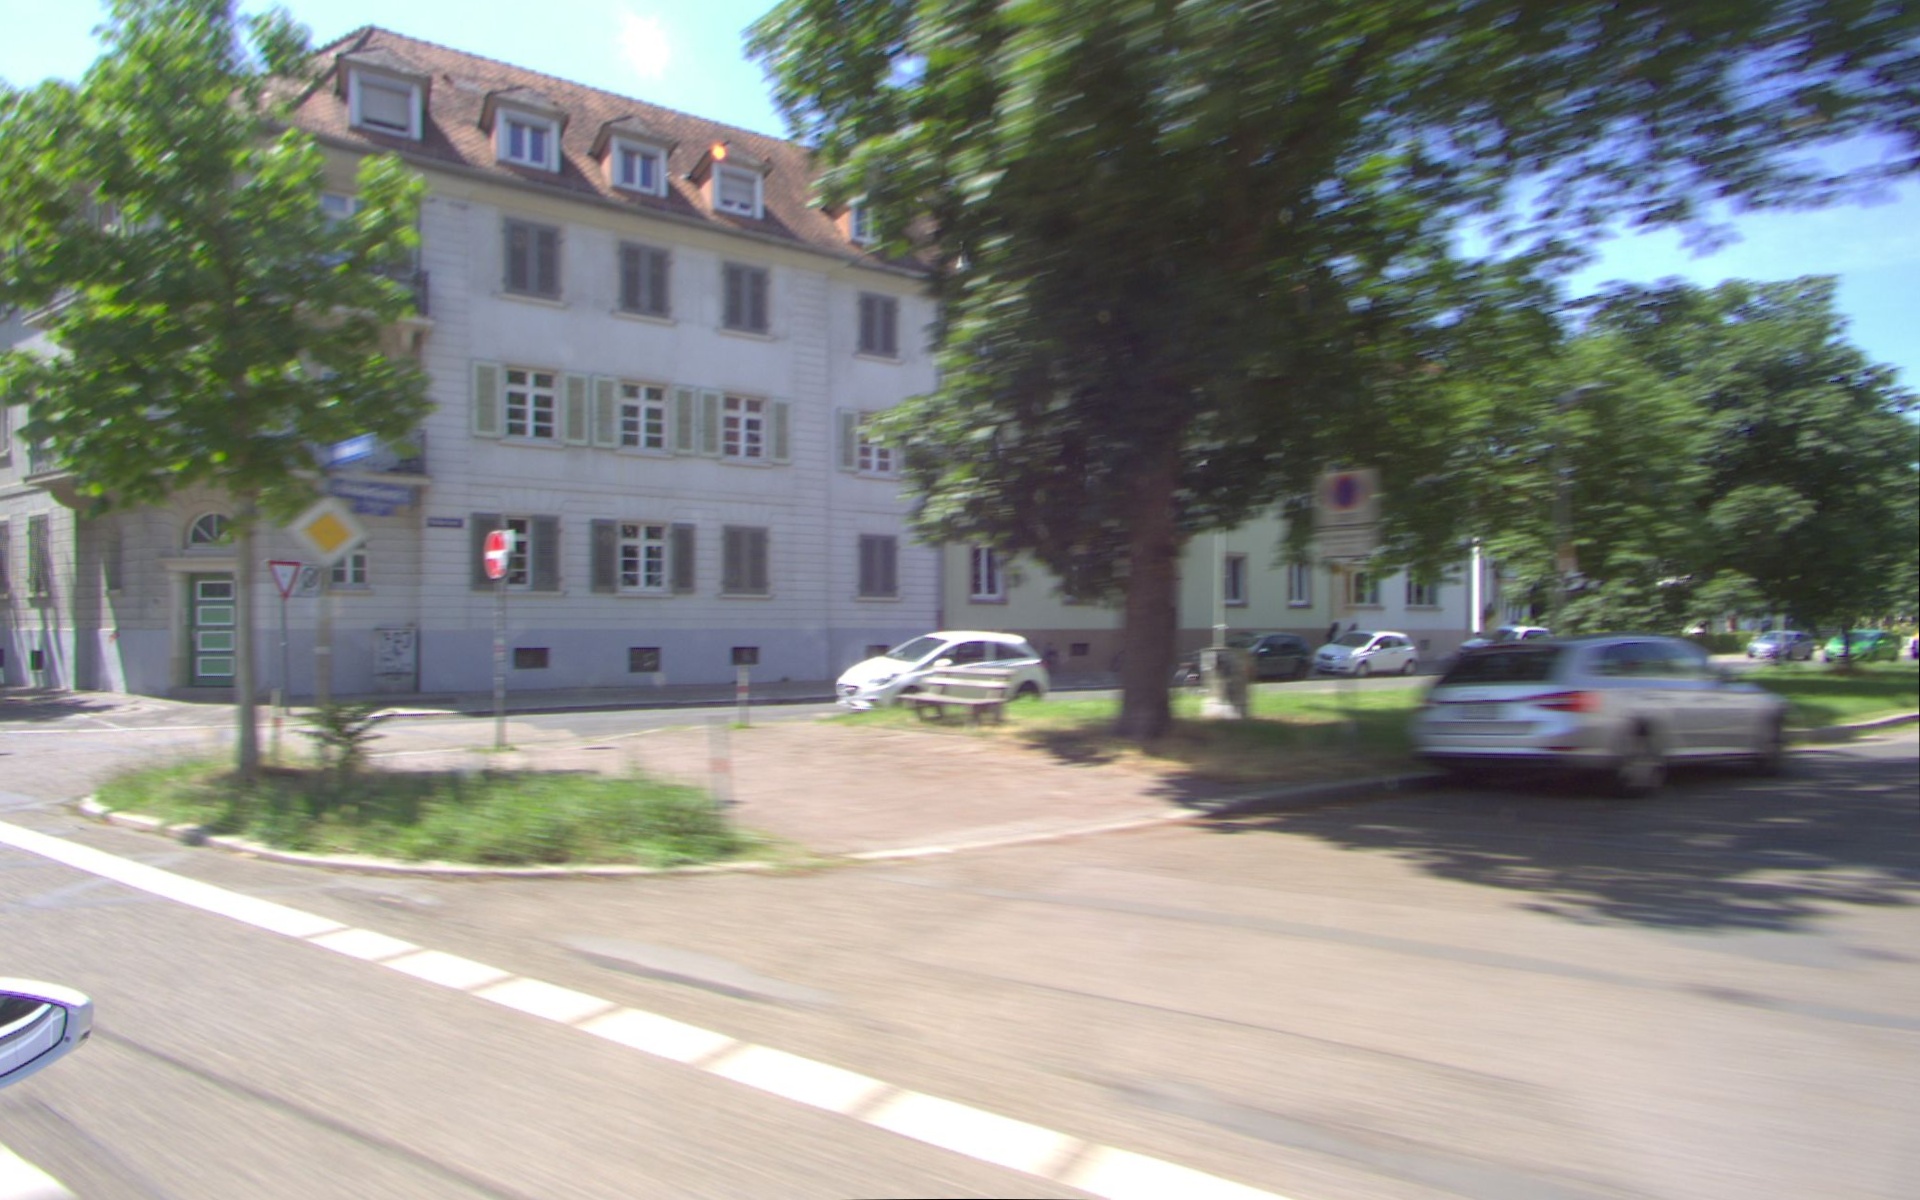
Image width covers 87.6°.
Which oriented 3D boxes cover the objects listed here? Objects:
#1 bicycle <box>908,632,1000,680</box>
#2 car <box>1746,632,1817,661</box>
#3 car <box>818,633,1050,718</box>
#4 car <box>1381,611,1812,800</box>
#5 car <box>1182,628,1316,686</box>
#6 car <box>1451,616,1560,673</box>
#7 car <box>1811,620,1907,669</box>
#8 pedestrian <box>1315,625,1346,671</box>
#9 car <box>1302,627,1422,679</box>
[{"bbox_3d":[-0.148,1.555,28.179,2.694,1.280,0.665,2,1,-38],"label":"bicycle"},{"bbox_3d":[42.136,2.376,51.339,3.847,1.416,1.776,1,-2,-34],"label":"car"},{"bbox_3d":[-0.462,1.331,18.643,3.941,1.438,1.845,1,-2,-28],"label":"car"},{"bbox_3d":[6.556,0.982,10.173,4.612,1.534,1.866,3,-3,-31],"label":"car"},{"bbox_3d":[8.708,1.684,30.111,3.943,1.623,1.577,1,-2,-30],"label":"car"},{"bbox_3d":[20.584,1.645,37.731,4.269,2.040,1.630,1,-1,-30],"label":"car"},{"bbox_3d":[39.237,1.951,43.710,3.943,2.039,1.990,1,-2,-30],"label":"car"},{"bbox_3d":[13.548,1.740,36.629,0.791,1.639,0.664,1,2,-36],"label":"pedestrian"},{"bbox_3d":[13.355,1.749,33.226,3.943,1.641,1.577,1,-2,-30],"label":"car"}]
